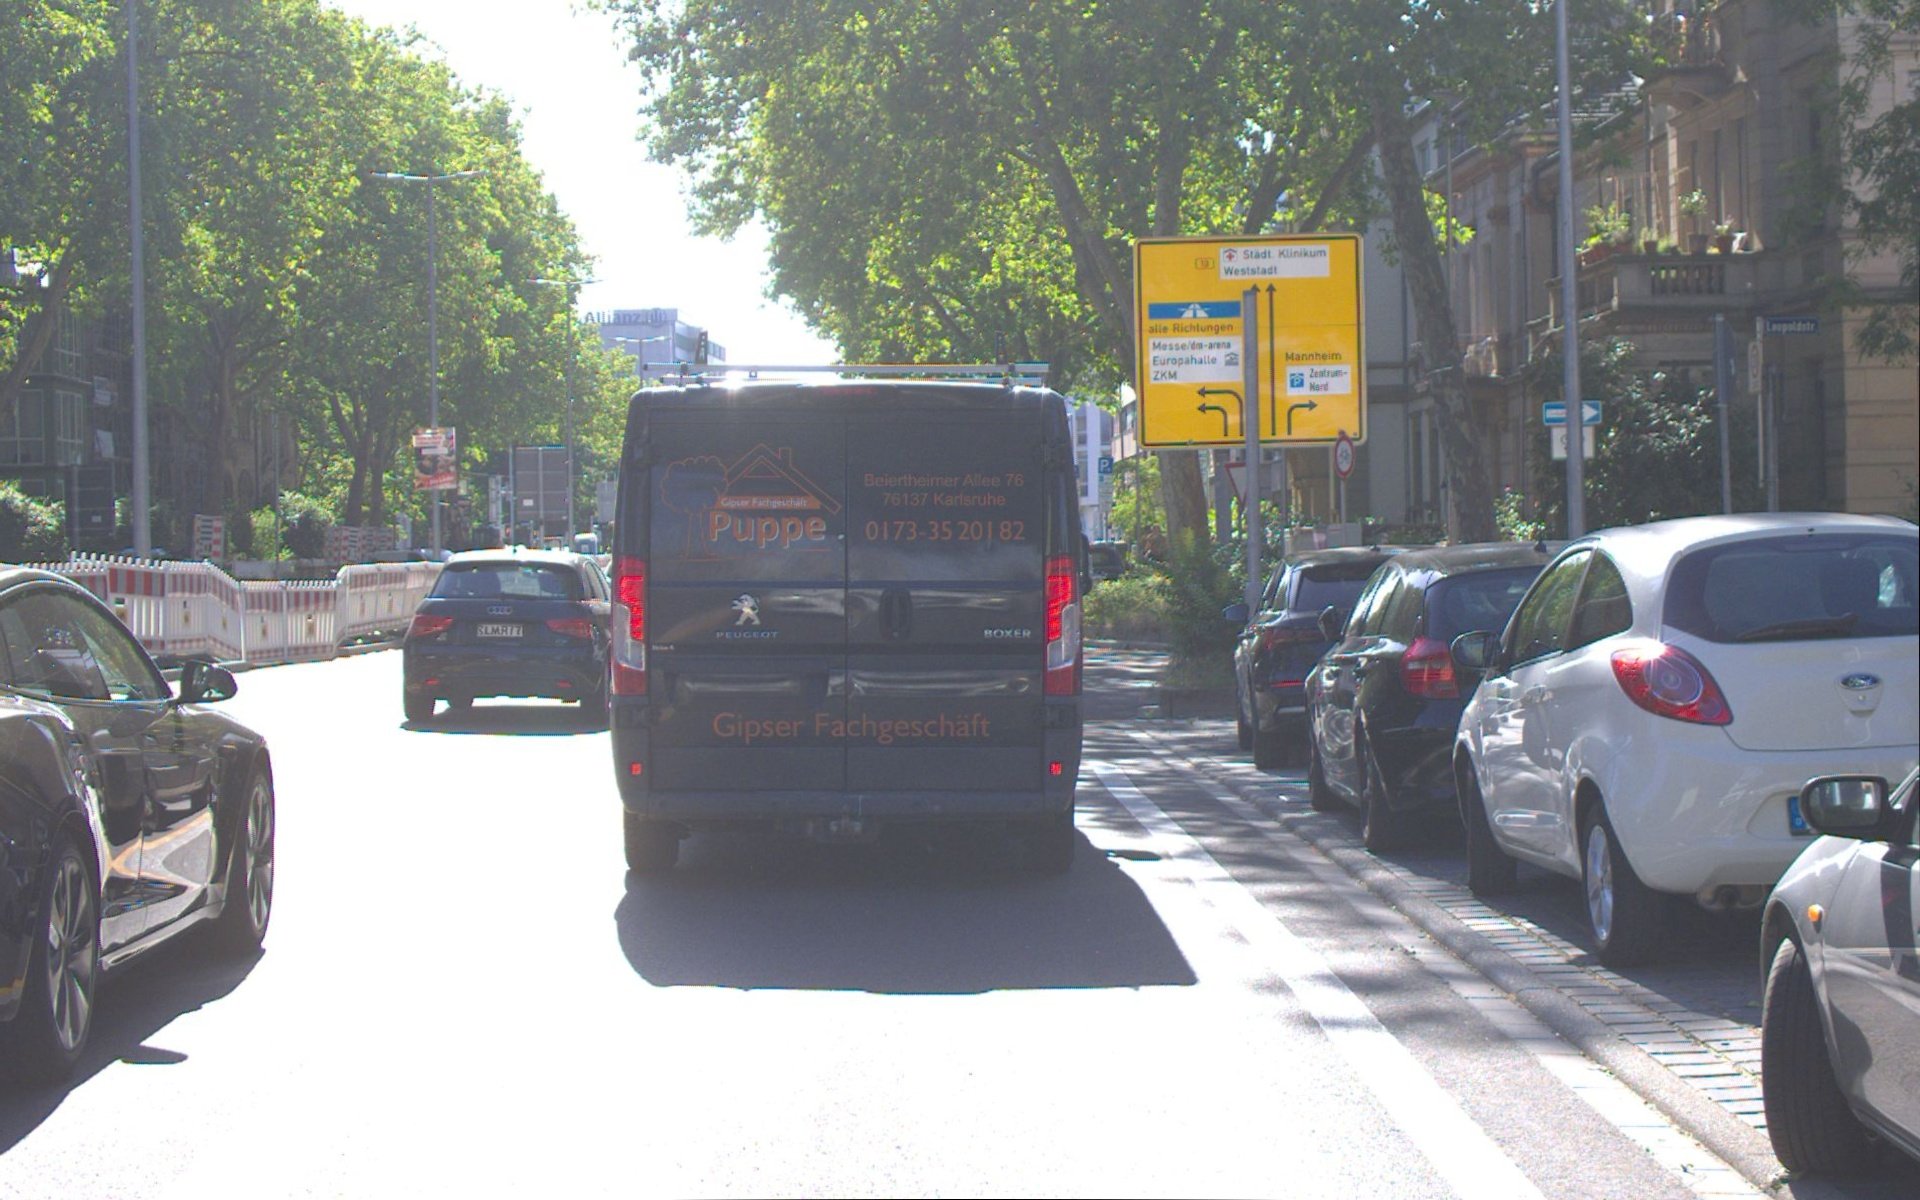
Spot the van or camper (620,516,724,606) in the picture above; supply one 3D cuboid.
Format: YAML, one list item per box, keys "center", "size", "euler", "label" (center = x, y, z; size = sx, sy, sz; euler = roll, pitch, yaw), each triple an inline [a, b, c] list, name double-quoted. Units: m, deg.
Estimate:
- center: [-6.894, -0.951, 82.690]
  size: [1.993, 2.007, 5.329]
  euler: [-2, 1, 0]
  label: "van or camper"

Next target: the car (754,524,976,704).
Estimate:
- center: [-0.800, 0.078, 31.297]
  size: [1.834, 1.480, 4.057]
  euler: [-1, 1, 1]
  label: "car"

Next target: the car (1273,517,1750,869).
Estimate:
- center: [2.610, 0.375, 17.139]
  size: [1.619, 1.481, 4.057]
  euler: [-2, 1, -1]
  label: "car"

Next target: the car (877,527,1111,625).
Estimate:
- center: [0.604, -0.449, 63.386]
  size: [3.986, 1.563, 1.779]
  euler: [3, 0, -9]
  label: "car"

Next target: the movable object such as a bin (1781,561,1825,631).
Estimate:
- center: [11.782, -0.061, 48.043]
  size: [0.519, 0.967, 0.398]
  euler: [-1, 1, 2]
  label: "movable object such as a bin"

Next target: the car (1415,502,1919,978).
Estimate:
- center: [2.813, 0.408, 12.890]
  size: [1.619, 1.481, 3.734]
  euler: [-2, 1, -1]
  label: "car"

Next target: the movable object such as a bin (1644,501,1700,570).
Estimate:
- center: [10.212, -0.928, 49.324]
  size: [0.687, 0.967, 0.548]
  euler: [-1, 1, 2]
  label: "movable object such as a bin"

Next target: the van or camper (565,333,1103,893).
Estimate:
- center: [-0.602, 0.017, 16.639]
  size: [2.245, 2.338, 4.538]
  euler: [0, 1, -2]
  label: "van or camper"

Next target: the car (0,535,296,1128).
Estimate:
- center: [-3.338, 0.549, 10.414]
  size: [1.837, 1.478, 4.476]
  euler: [0, 1, -1]
  label: "car"

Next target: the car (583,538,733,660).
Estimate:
- center: [-3.812, -0.043, 43.875]
  size: [1.619, 1.481, 3.734]
  euler: [0, 1, -1]
  label: "car"

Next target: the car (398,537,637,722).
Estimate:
- center: [-3.738, 0.205, 29.543]
  size: [1.619, 1.481, 3.734]
  euler: [0, 1, -1]
  label: "car"

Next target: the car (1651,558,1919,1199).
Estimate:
- center: [2.625, 0.624, 6.517]
  size: [1.716, 1.408, 4.049]
  euler: [-2, 1, -1]
  label: "car"

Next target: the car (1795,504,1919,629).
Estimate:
- center: [13.086, -0.456, 44.845]
  size: [3.929, 1.555, 1.873]
  euler: [0, 3, 1]
  label: "car"

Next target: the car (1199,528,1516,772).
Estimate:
- center: [2.672, 0.284, 23.920]
  size: [1.619, 1.481, 4.098]
  euler: [-2, 1, -1]
  label: "car"
